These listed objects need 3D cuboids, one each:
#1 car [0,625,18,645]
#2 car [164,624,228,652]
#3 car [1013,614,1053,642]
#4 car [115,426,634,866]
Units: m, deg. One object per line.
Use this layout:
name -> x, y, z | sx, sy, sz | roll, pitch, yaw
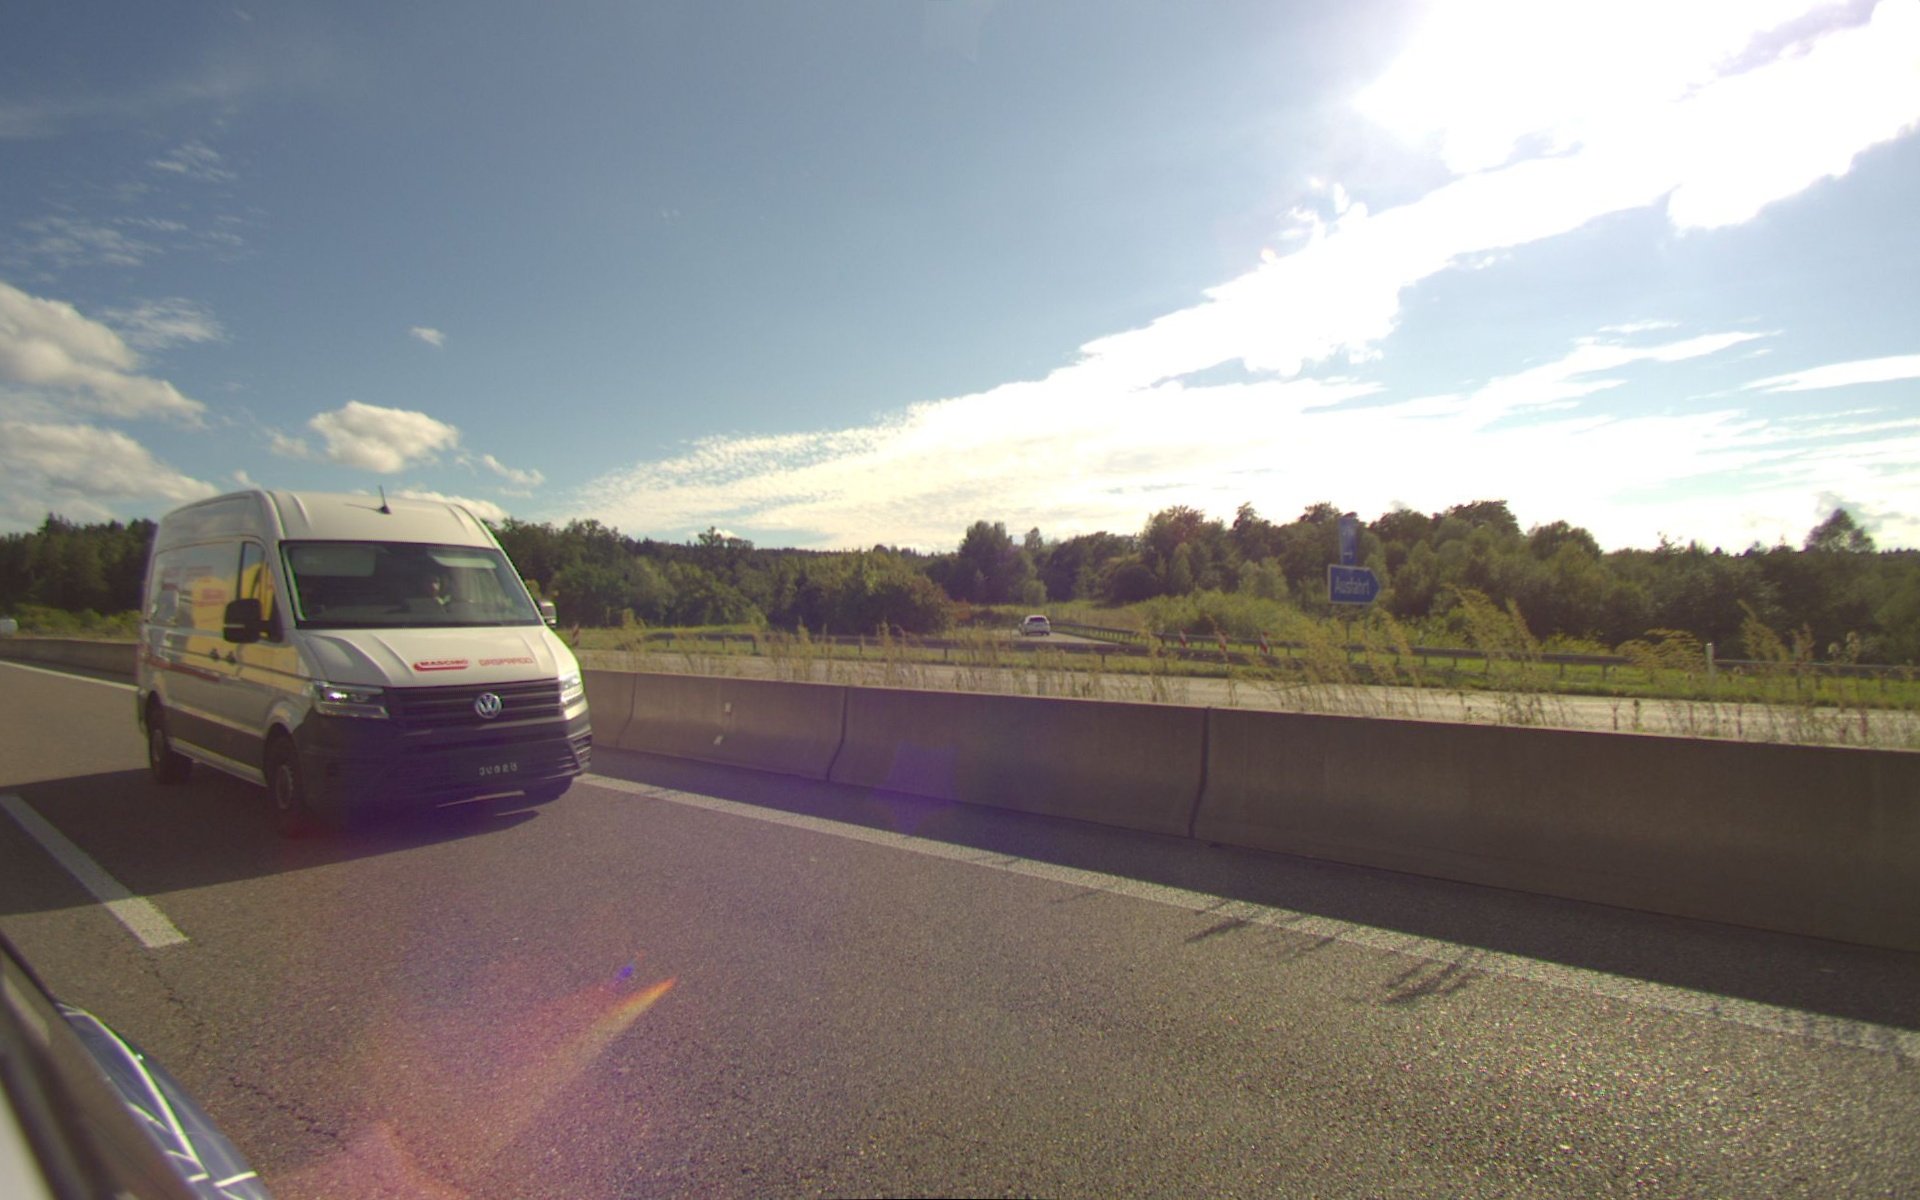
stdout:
car -> -133.652, 4.915, 141.545 | 7.317, 2.598, 2.013 | -1, 1, 41
car -> -43.839, 2.153, 58.022 | 4.931, 1.487, 1.899 | -1, 1, 41
car -> 5.511, 2.093, 76.704 | 1.969, 1.813, 4.985 | -2, 1, -8
car -> -5.424, 0.360, 8.807 | 6.178, 2.619, 1.994 | -2, -2, 41
